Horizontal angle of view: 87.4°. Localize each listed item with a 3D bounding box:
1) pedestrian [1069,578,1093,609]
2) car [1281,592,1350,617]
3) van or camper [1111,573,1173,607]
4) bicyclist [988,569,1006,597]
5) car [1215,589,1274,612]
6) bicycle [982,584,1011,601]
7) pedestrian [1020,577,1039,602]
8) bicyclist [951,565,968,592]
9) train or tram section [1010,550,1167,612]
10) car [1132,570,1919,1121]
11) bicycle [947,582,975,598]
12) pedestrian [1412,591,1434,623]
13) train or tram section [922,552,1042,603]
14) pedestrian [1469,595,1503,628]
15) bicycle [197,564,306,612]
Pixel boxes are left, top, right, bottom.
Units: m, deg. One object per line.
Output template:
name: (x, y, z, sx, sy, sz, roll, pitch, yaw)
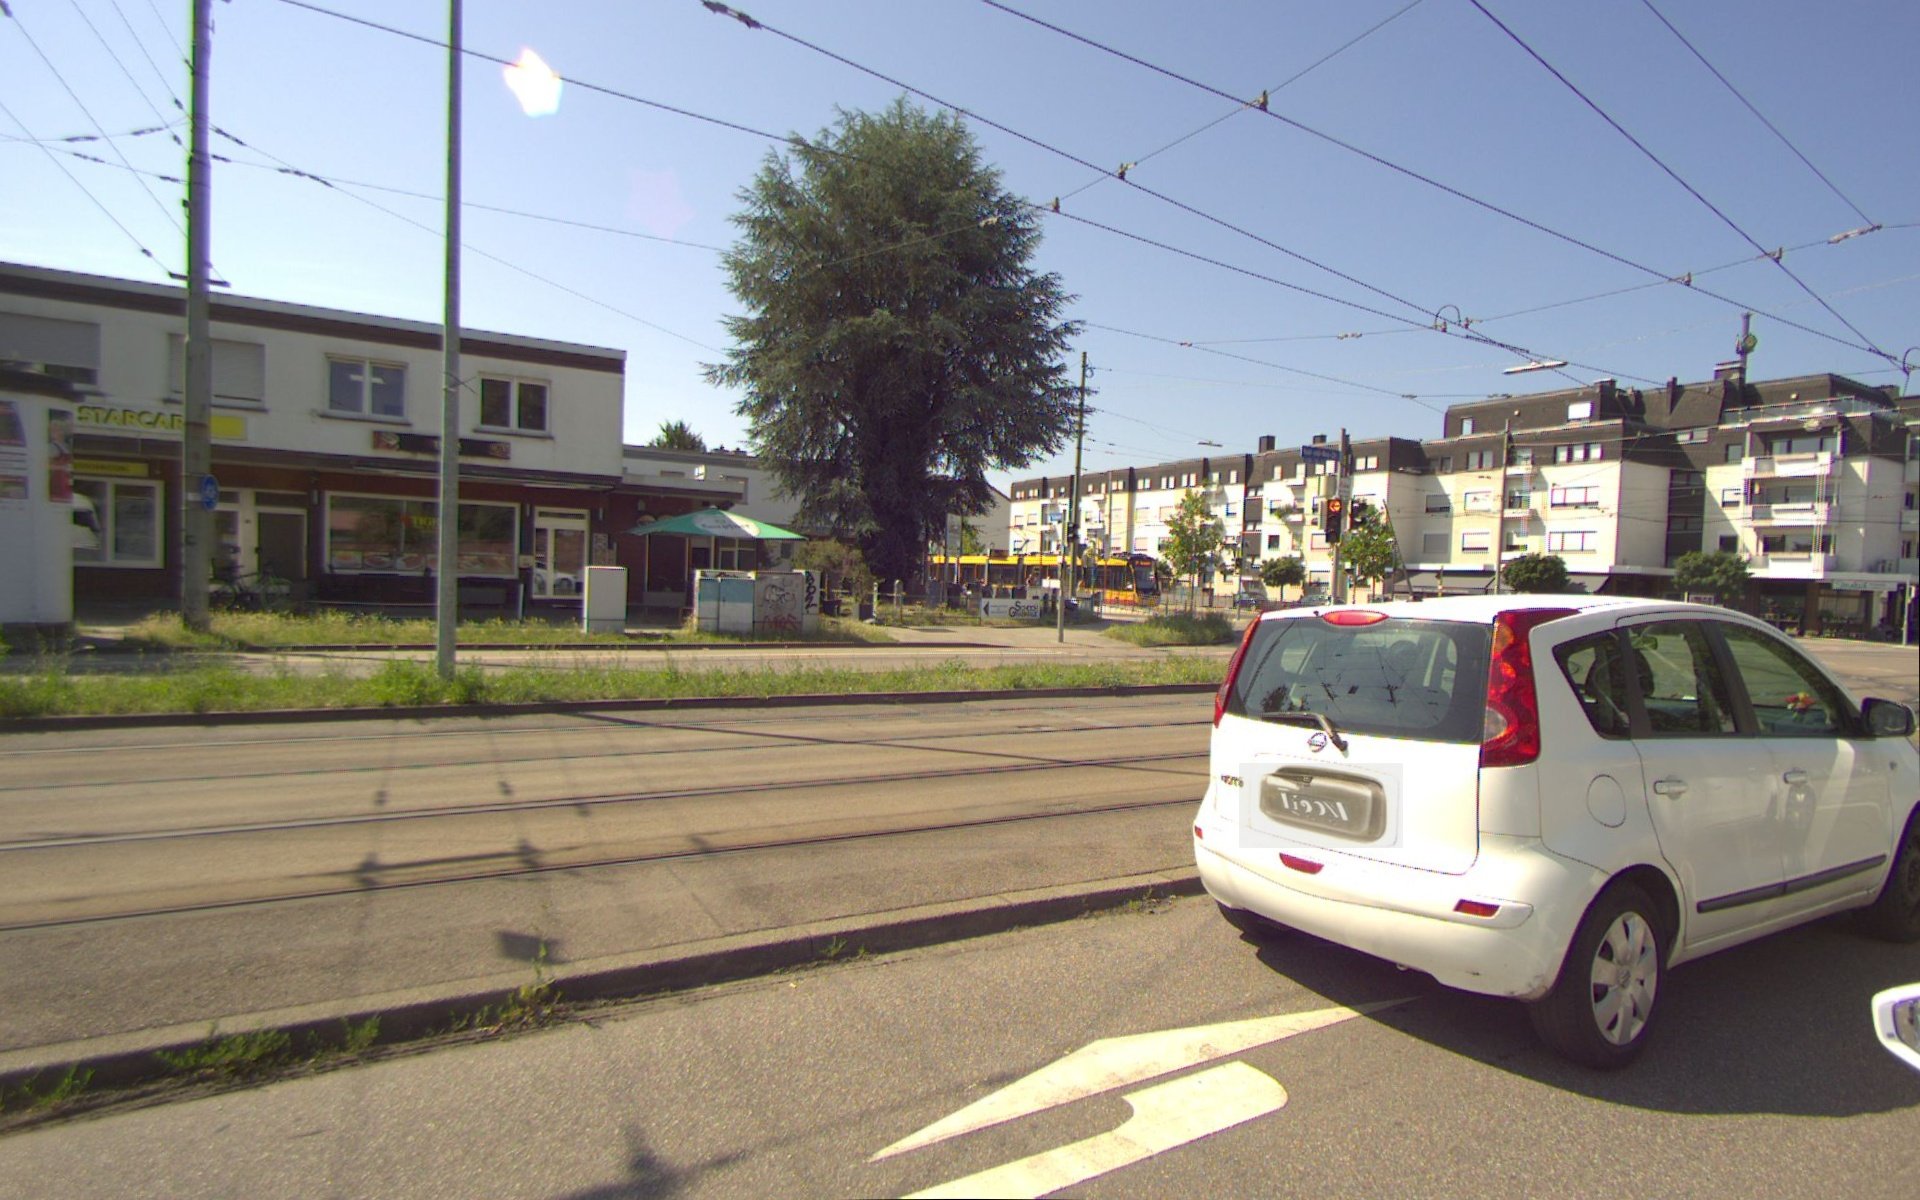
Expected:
pedestrian: (7.630, -0.404, 63.260, 0.886, 1.862, 1.192, 1, 1, -30)
car: (23.906, 0.286, 67.624, 1.807, 1.520, 4.151, 1, 1, -30)
van or camper: (14.959, -0.871, 82.854, 2.349, 2.660, 4.850, 1, 1, -31)
bicyclist: (2.119, -0.967, 57.688, 0.626, 1.579, 0.757, 2, 0, -38)
car: (20.634, 0.019, 72.947, 1.807, 1.520, 3.967, 1, 1, -30)
bicycle: (2.087, -0.436, 57.912, 0.530, 0.959, 2.117, 1, 1, -32)
pedestrian: (4.833, -0.739, 70.235, 0.804, 1.703, 1.085, 1, 1, -30)
bicyclist: (-0.031, -1.292, 60.741, 0.626, 1.596, 0.758, 1, 2, -37)
train or tram section: (8.264, -1.389, 67.877, 2.736, 3.707, 13.795, 1, 1, -30)
car: (2.934, 0.738, 4.663, 4.019, 1.582, 1.757, 1, 0, -30)
bicycle: (0.064, -0.624, 60.666, 0.570, 0.902, 2.115, 1, 1, -35)
pedestrian: (26.635, 0.408, 57.744, 0.802, 1.783, 0.757, 1, 1, -31)
train or tram section: (1.433, -1.870, 79.881, 2.736, 3.707, 13.795, 1, 1, -30)
pedestrian: (30.370, 0.644, 58.018, 1.410, 1.861, 1.123, 2, 1, 8)
bicycle: (-15.670, -0.264, 22.268, 1.889, 0.996, 0.754, 1, 1, -30)
